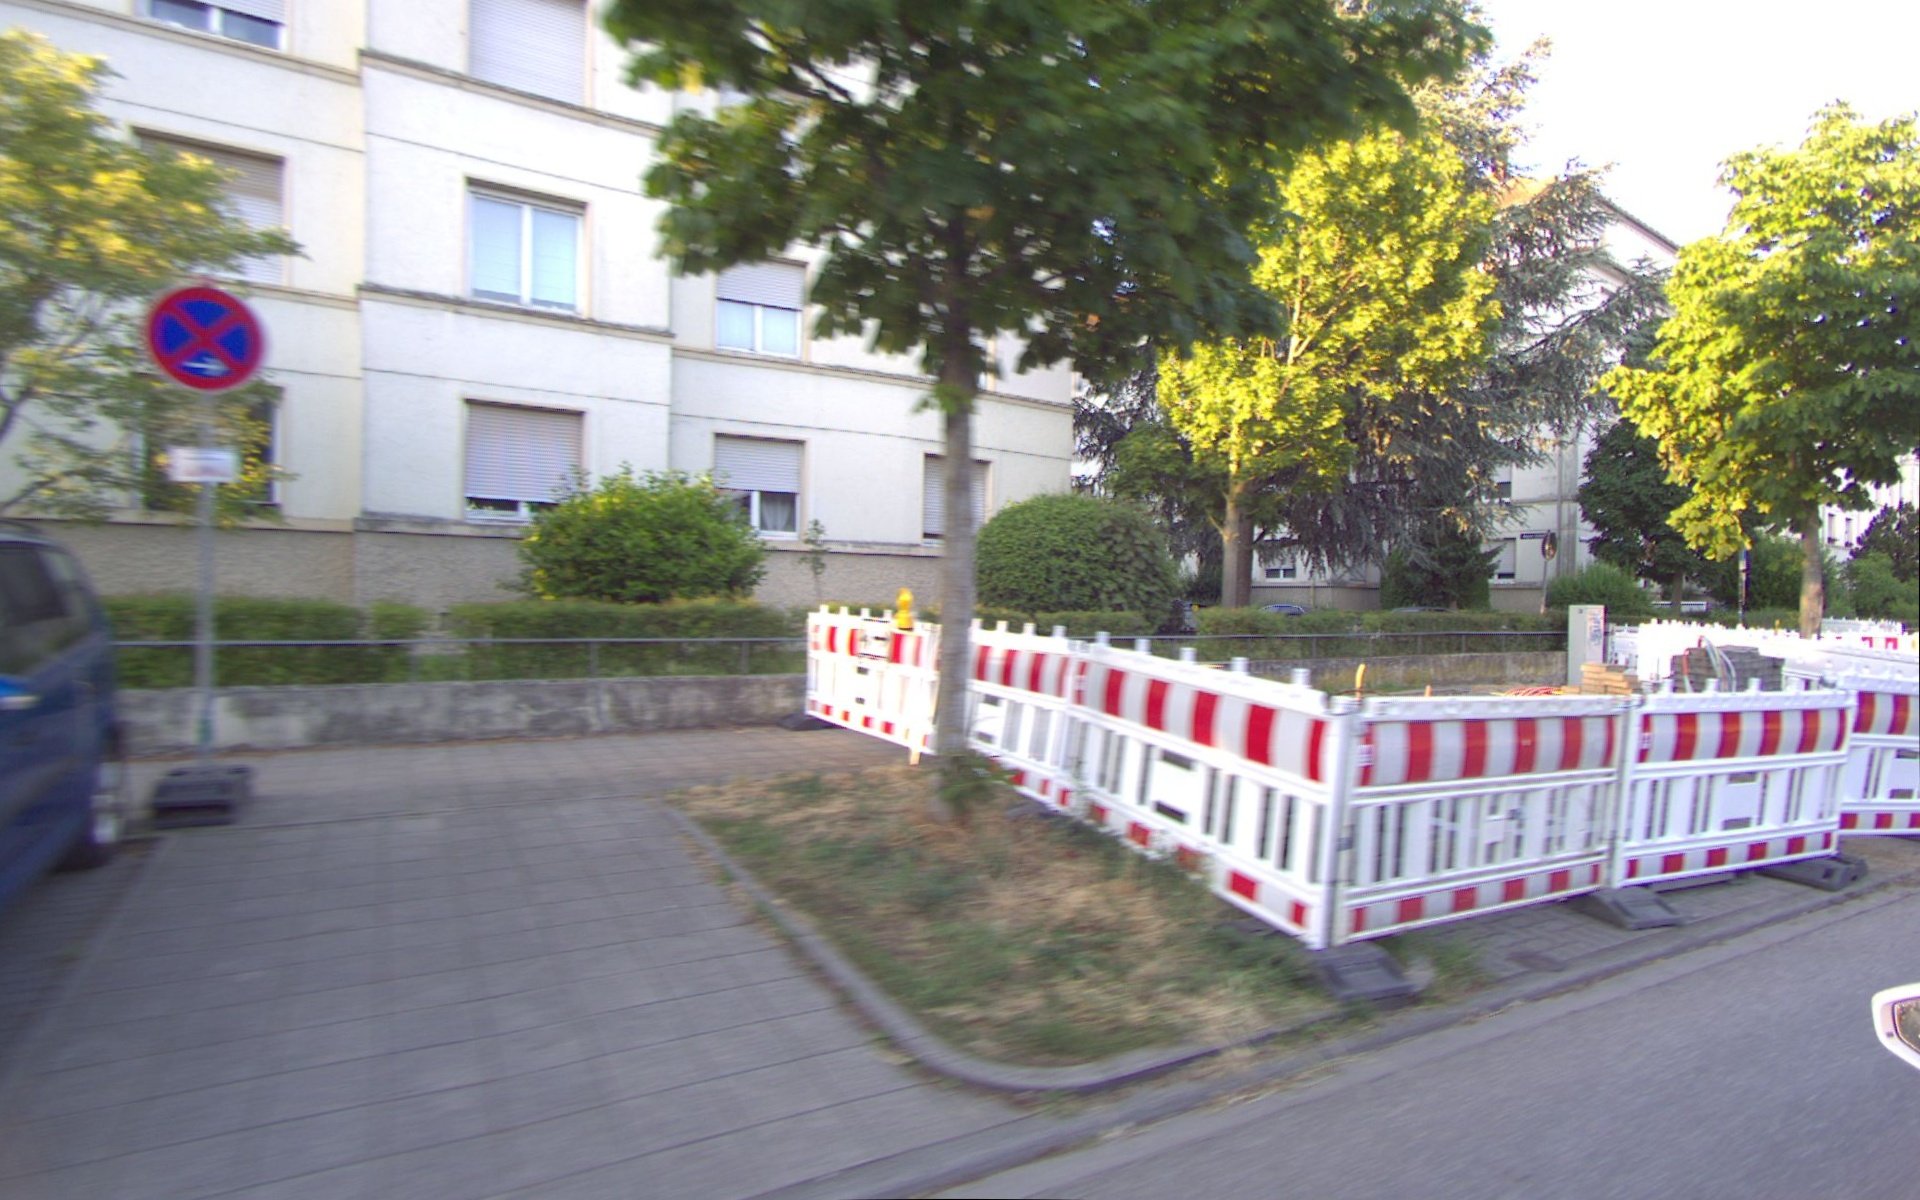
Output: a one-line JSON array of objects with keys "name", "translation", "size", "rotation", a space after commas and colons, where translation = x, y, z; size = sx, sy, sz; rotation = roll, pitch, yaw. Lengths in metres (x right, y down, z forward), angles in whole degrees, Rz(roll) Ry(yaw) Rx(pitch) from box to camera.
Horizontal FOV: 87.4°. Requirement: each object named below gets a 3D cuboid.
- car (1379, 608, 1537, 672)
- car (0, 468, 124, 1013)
[{"name": "car", "translation": [14.246, 1.096, 28.852], "size": [1.747, 1.611, 3.675], "rotation": [0, 1, -40]}, {"name": "car", "translation": [-4.024, 0.447, 3.036], "size": [1.780, 1.776, 3.964], "rotation": [1, 1, -32]}]
